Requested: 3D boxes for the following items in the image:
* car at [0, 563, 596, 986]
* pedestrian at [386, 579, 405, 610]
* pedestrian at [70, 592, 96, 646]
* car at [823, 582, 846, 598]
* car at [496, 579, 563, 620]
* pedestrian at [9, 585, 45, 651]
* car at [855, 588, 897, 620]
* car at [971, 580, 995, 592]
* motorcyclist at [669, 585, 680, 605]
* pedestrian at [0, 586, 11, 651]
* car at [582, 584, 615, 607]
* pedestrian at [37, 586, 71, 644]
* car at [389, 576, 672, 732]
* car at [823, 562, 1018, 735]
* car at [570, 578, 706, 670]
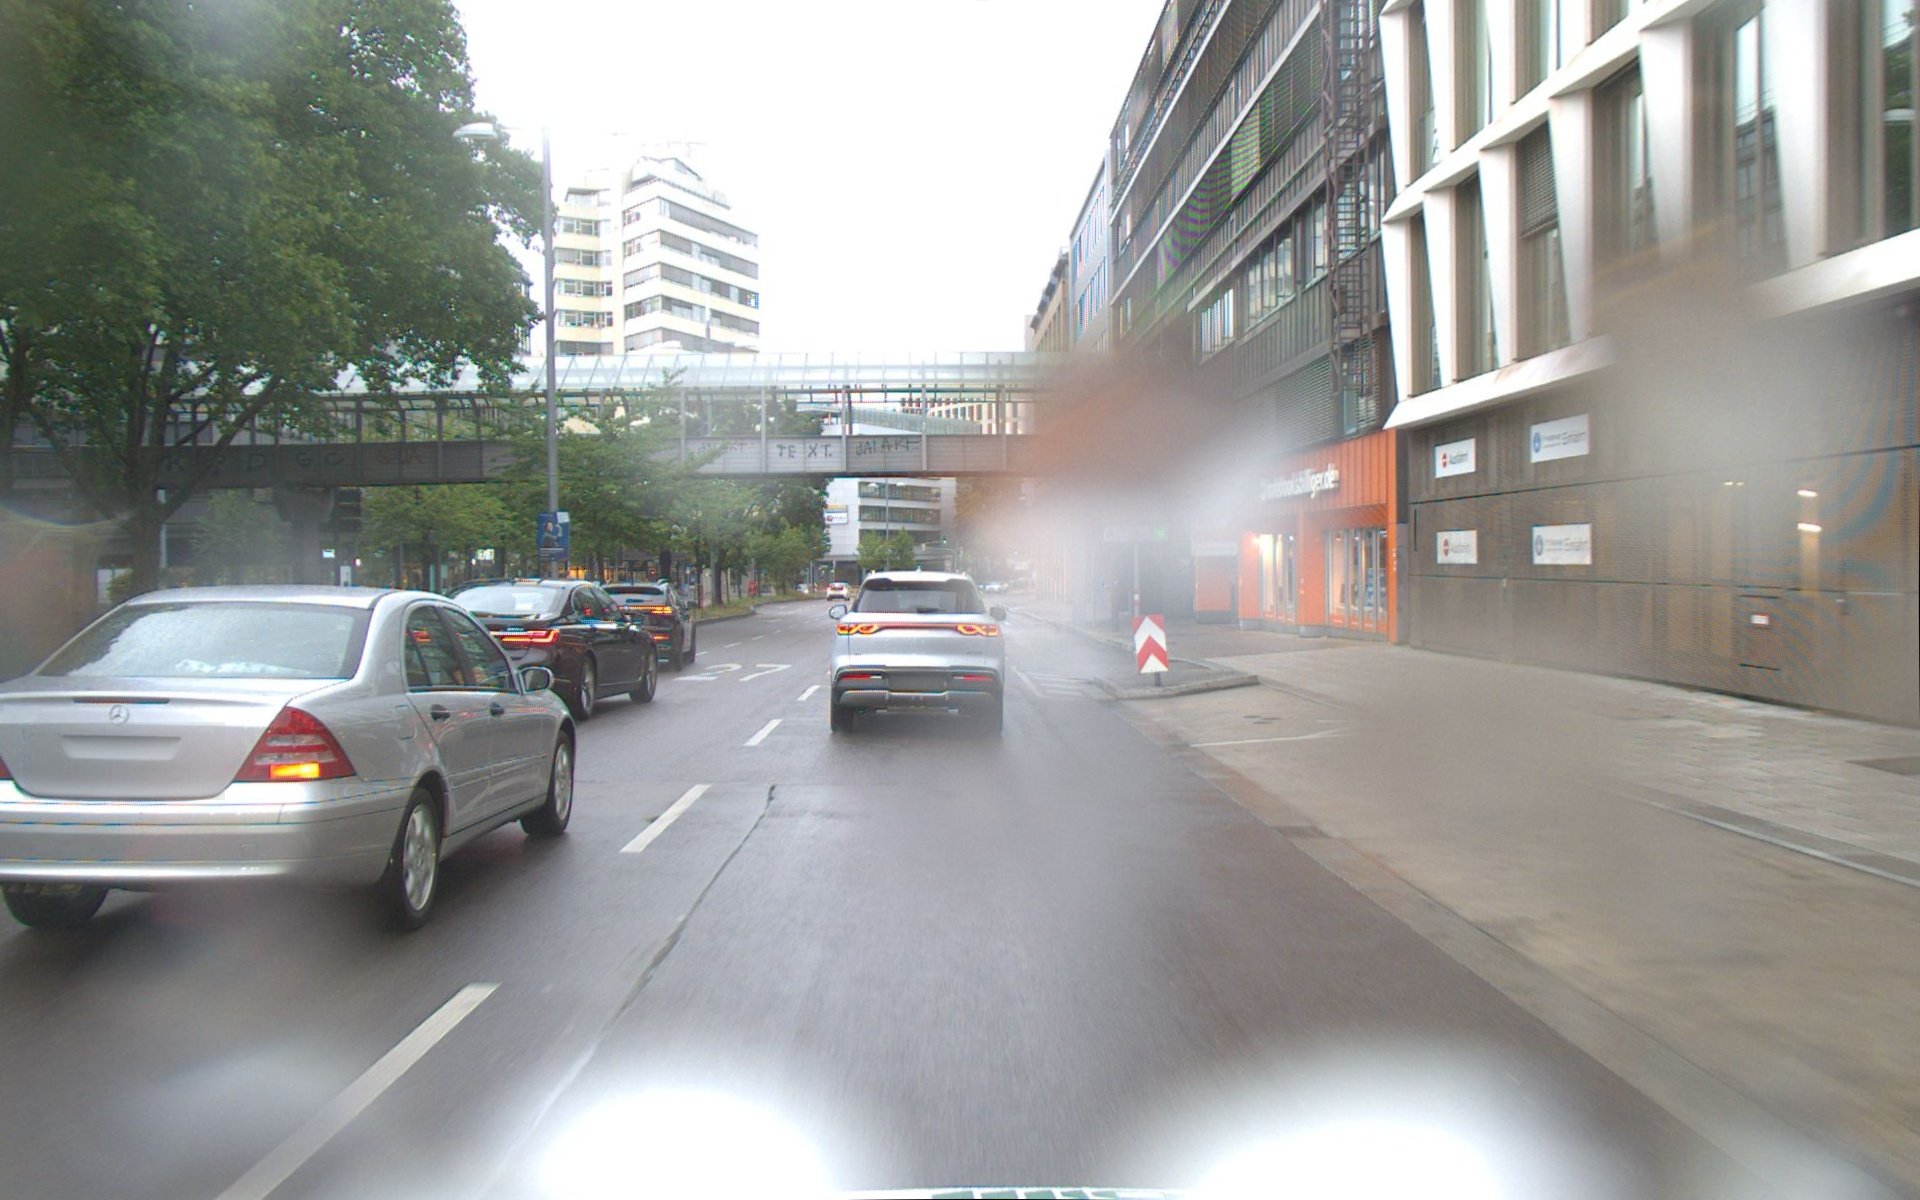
[{"bbox_3d":[-3.045,0.642,8.080,1.638,1.505,4.359,0,-1,-1],"label":"car"},{"bbox_3d":[-32.397,-0.329,94.905,0.728,1.745,1.056,0,0,-2],"label":"pedestrian"},{"bbox_3d":[-28.109,0.601,52.991,0.548,1.715,0.511,0,1,-1],"label":"pedestrian"},{"bbox_3d":[-10.726,-0.862,141.179,1.619,1.365,4.000,0,0,0],"label":"car"},{"bbox_3d":[-16.692,-0.023,64.282,1.629,1.489,4.079,-3,0,-3],"label":"car"},{"bbox_3d":[-26.527,0.509,47.012,0.584,1.839,0.759,0,1,-1],"label":"pedestrian"},{"bbox_3d":[-4.274,0.184,84.791,1.774,1.606,4.002,0,0,3],"label":"car"},{"bbox_3d":[3.055,-1.880,221.860,1.551,1.565,3.994,0,0,29],"label":"car"},{"bbox_3d":[-20.920,-0.394,121.172,0.625,1.443,0.970,-1,0,-1],"label":"motorcyclist"},{"bbox_3d":[-27.350,0.523,46.875,0.593,1.839,0.511,0,1,-1],"label":"pedestrian"},{"bbox_3d":[-25.995,-0.344,118.953,1.591,1.639,4.230,1,0,-3],"label":"car"},{"bbox_3d":[-28.962,0.461,52.874,0.708,1.839,0.617,0,1,-1],"label":"pedestrian"},{"bbox_3d":[-4.675,0.497,18.808,1.833,1.505,4.879,-1,1,1],"label":"car"},{"bbox_3d":[-0.423,0.471,18.062,1.862,1.650,3.999,1,0,-1],"label":"car"},{"bbox_3d":[-5.561,0.397,28.998,1.738,1.482,3.998,-1,0,-3],"label":"car"}]
